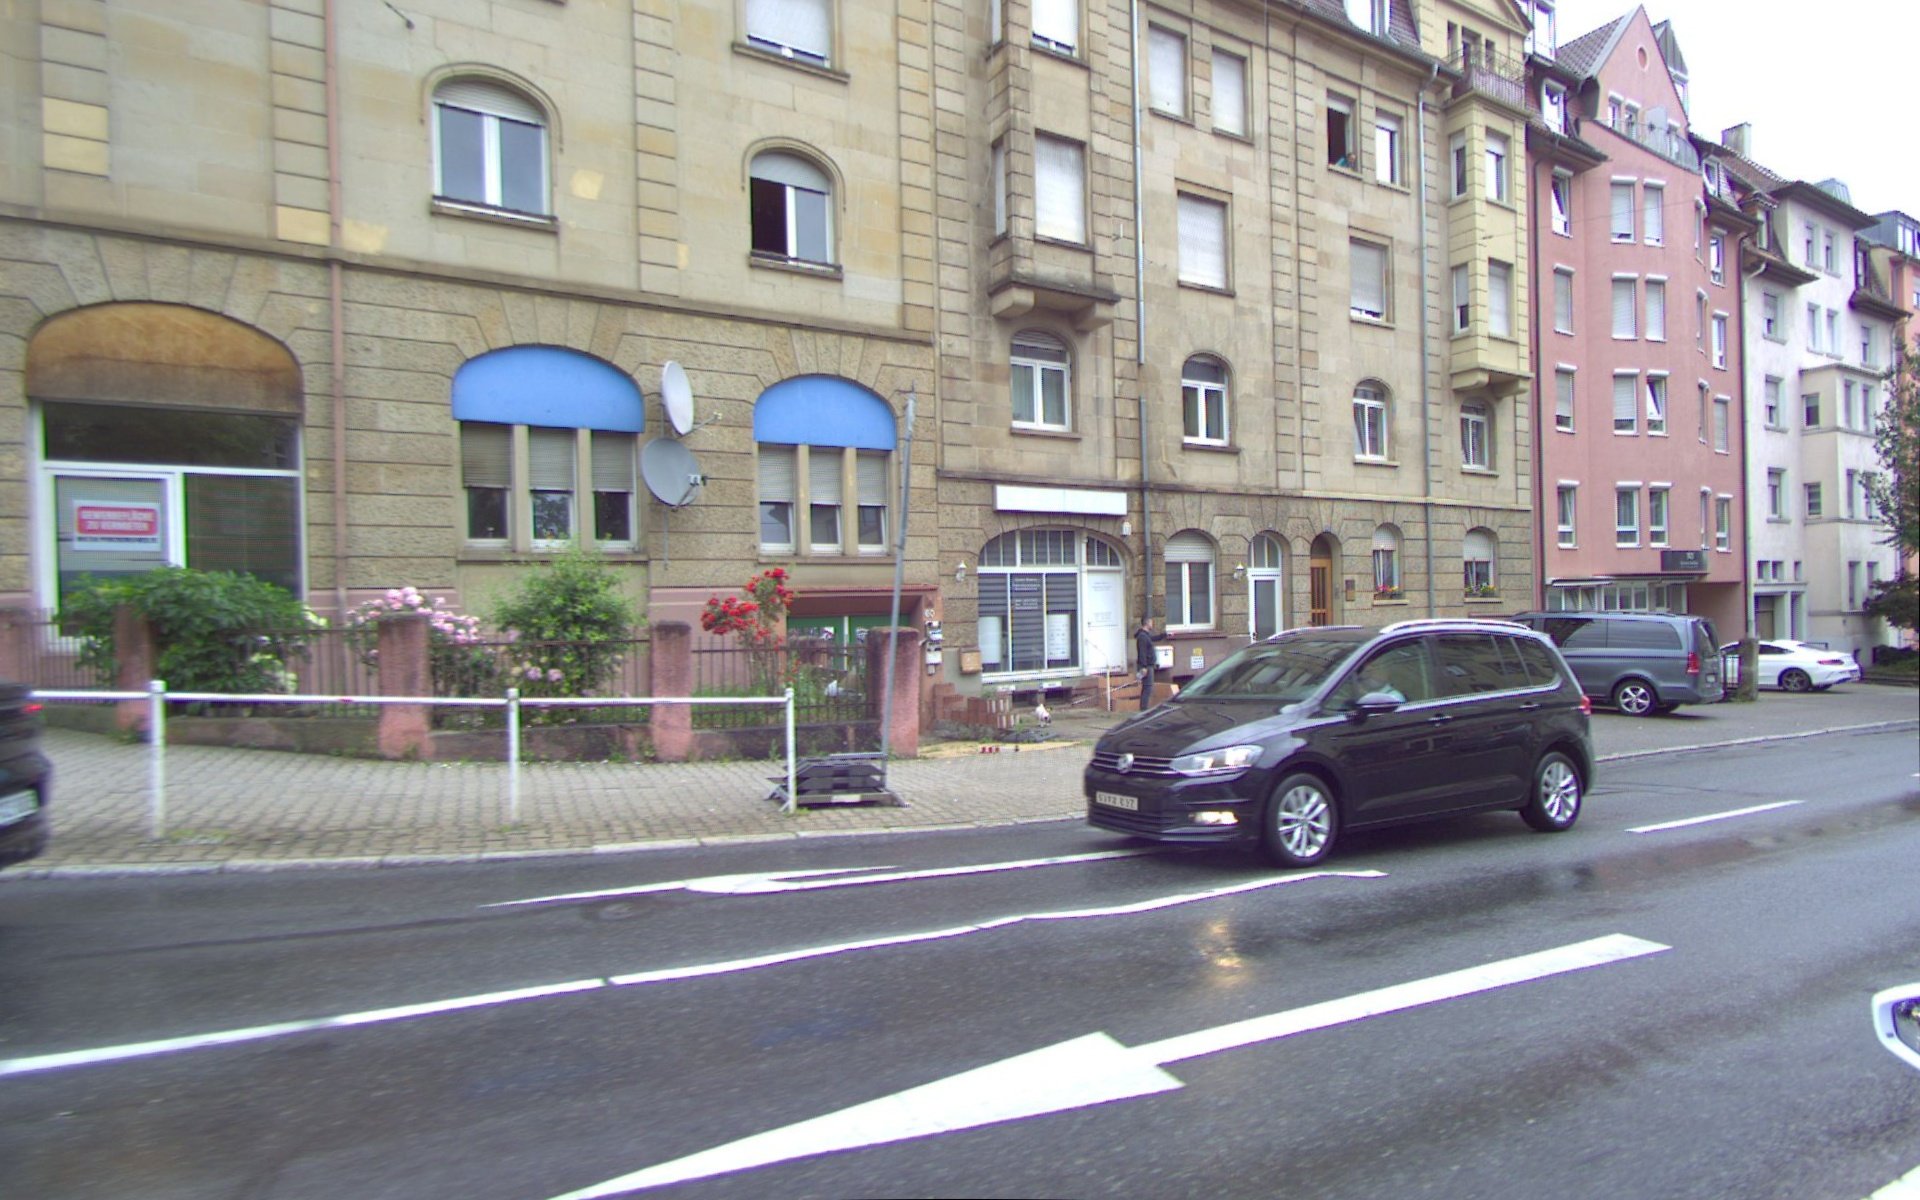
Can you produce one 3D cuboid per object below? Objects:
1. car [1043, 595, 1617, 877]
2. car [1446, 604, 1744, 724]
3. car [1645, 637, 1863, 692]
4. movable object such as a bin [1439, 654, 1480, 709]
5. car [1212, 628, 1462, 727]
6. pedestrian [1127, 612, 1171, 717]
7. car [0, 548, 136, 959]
[{"bbox_3d":[2.922,0.902,7.730,4.364,1.670,1.615,1,-4,-28],"label":"car"},{"bbox_3d":[12.380,1.131,19.860,1.848,1.965,4.634,1,1,-40],"label":"car"},{"bbox_3d":[22.365,1.779,28.485,1.747,1.419,4.525,1,-3,-31],"label":"car"},{"bbox_3d":[9.176,1.483,18.456,0.435,0.963,0.503,1,0,-26],"label":"movable object such as a bin"},{"bbox_3d":[6.865,1.328,18.697,1.852,1.531,4.126,1,-1,-31],"label":"car"},{"bbox_3d":[3.323,1.123,17.686,0.557,1.801,0.476,1,1,-23],"label":"pedestrian"},{"bbox_3d":[-6.288,0.556,3.577,4.740,1.715,1.960,2,-1,-23],"label":"car"}]
